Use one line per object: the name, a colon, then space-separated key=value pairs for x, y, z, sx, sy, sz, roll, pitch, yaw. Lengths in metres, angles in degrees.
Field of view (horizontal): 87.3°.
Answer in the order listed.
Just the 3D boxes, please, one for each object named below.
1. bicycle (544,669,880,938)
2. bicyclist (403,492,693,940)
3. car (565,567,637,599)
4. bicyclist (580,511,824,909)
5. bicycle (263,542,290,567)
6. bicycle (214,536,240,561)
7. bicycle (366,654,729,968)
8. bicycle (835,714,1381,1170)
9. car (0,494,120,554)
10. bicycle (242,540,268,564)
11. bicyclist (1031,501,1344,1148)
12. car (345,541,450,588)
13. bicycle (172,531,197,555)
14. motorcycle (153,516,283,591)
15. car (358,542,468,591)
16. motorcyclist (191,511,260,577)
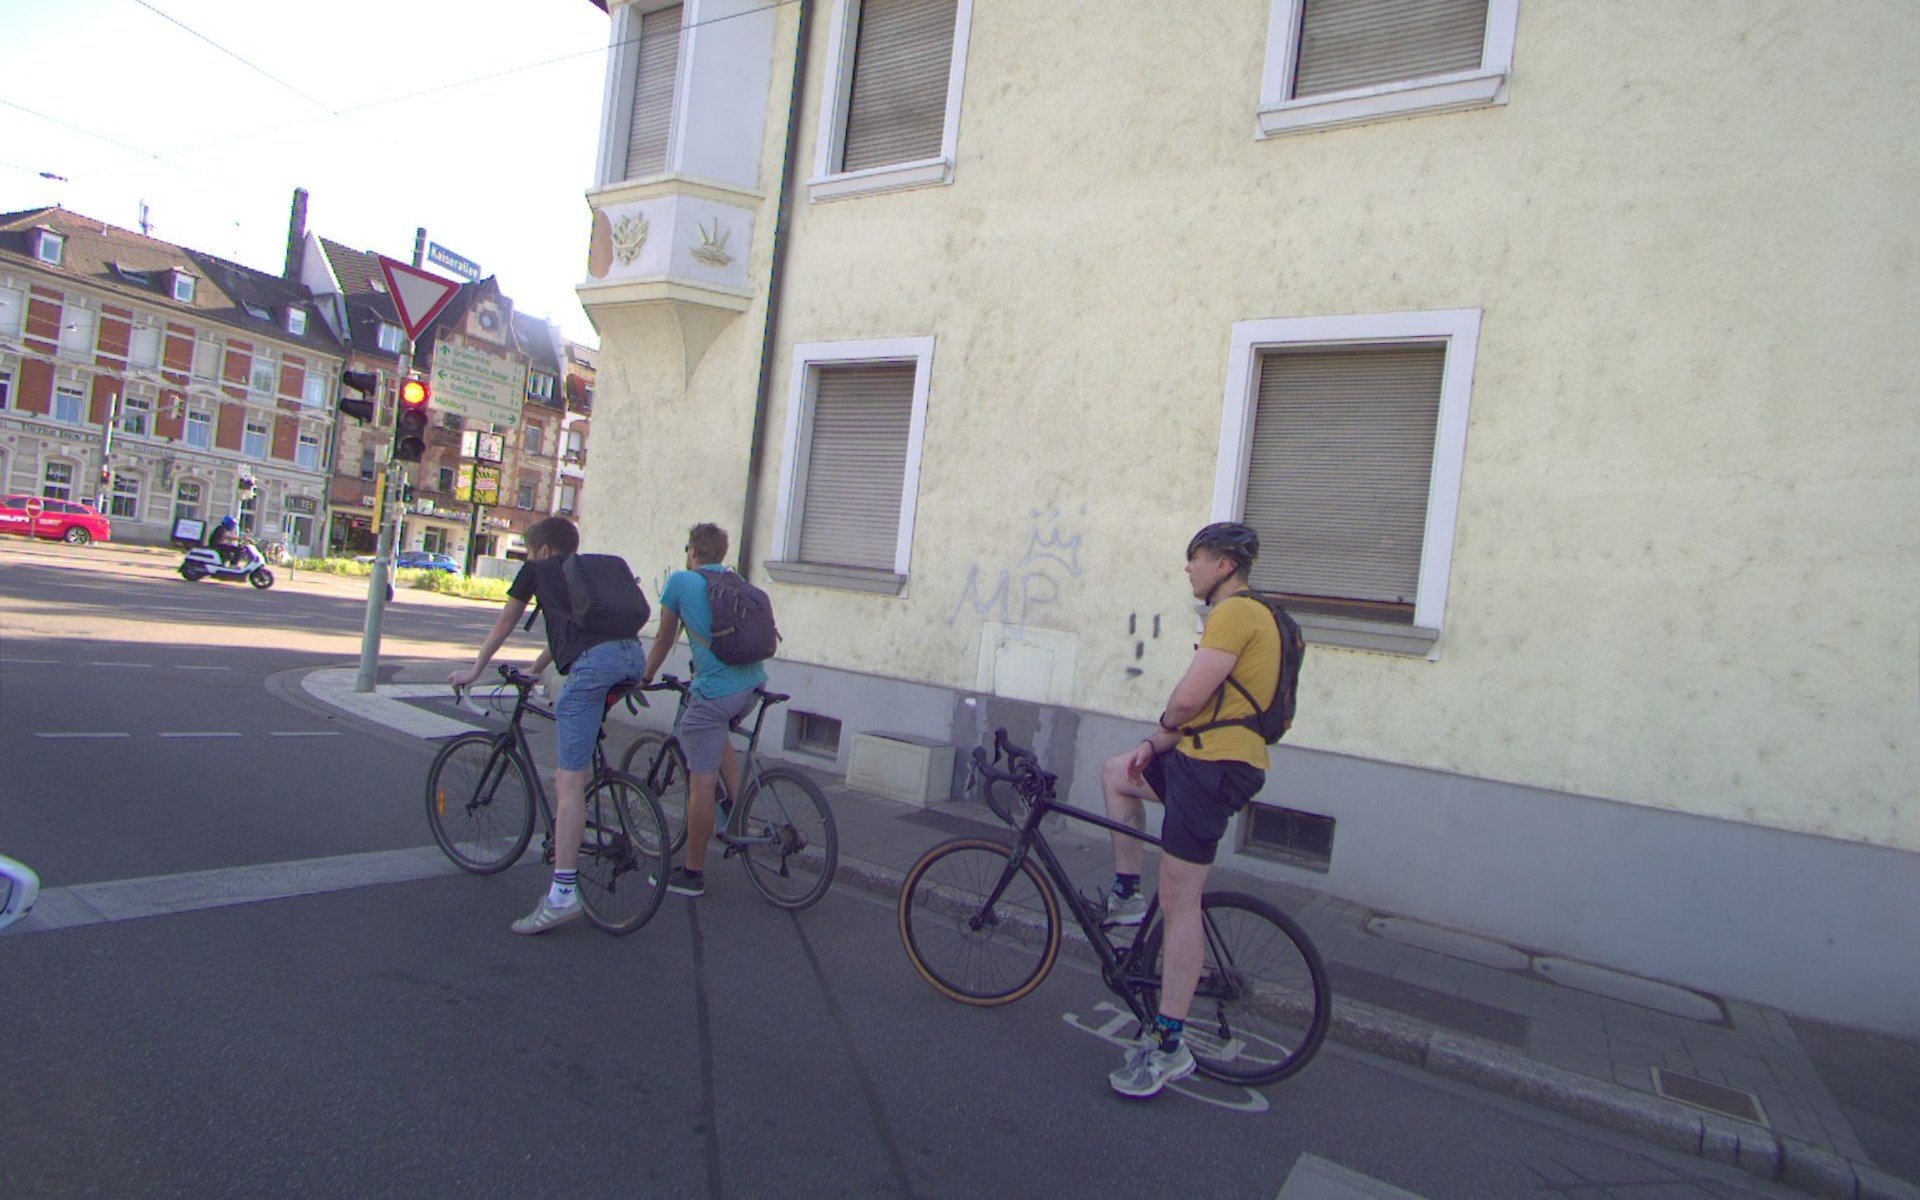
bicycle: x=-1.326 y=0.975 z=5.215 sx=1.753 sy=0.995 sz=0.504 roll=6 pitch=-1 yaw=32
bicyclist: x=-1.861 y=0.468 z=4.551 sx=0.920 sy=1.787 sz=0.590 roll=6 pitch=-1 yaw=32
car: x=-23.188 y=-1.095 z=65.089 sx=1.842 sy=1.454 sz=3.985 roll=6 pitch=-2 yaw=35
bicyclist: x=-1.354 y=0.527 z=5.268 sx=0.960 sy=1.868 sz=0.504 roll=6 pitch=-1 yaw=32
bicycle: x=-33.019 y=-2.201 z=48.607 sx=0.789 sy=1.027 sz=2.186 roll=8 pitch=-2 yaw=-39
bicycle: x=-34.270 y=-2.417 z=47.018 sx=0.762 sy=0.995 sz=2.186 roll=8 pitch=-2 yaw=-39
bicycle: x=-1.910 y=0.862 z=4.548 sx=1.753 sy=1.003 sz=0.482 roll=6 pitch=-1 yaw=32
bicycle: x=0.542 y=1.128 z=3.747 sx=1.709 sy=1.119 sz=0.783 roll=7 pitch=-1 yaw=18
car: x=-30.550 y=-2.605 z=32.479 sx=1.771 sy=1.487 sz=4.873 roll=8 pitch=-1 yaw=25
bicycle: x=-33.617 y=-2.305 z=47.961 sx=0.762 sy=1.019 sz=2.196 roll=8 pitch=-2 yaw=-39
bicyclist: x=0.844 y=0.723 z=3.666 sx=0.763 sy=1.990 sz=0.783 roll=7 pitch=0 yaw=18
car: x=-27.364 y=-1.717 z=49.027 sx=1.775 sy=1.641 sz=3.994 roll=6 pitch=-2 yaw=33
bicycle: x=-35.368 y=-2.608 z=45.871 sx=0.762 sy=0.974 sz=2.186 roll=8 pitch=-2 yaw=-39
motorcycle: x=-16.682 y=-1.016 z=22.688 sx=2.117 sy=1.349 sz=0.792 roll=8 pitch=-2 yaw=-26
car: x=-25.415 y=-1.544 z=46.864 sx=1.775 sy=1.641 sz=3.994 roll=6 pitch=-2 yaw=33
motorcyclist: x=-16.575 y=-1.253 z=22.728 sx=1.005 sy=1.315 sz=0.784 roll=8 pitch=-1 yaw=-26
